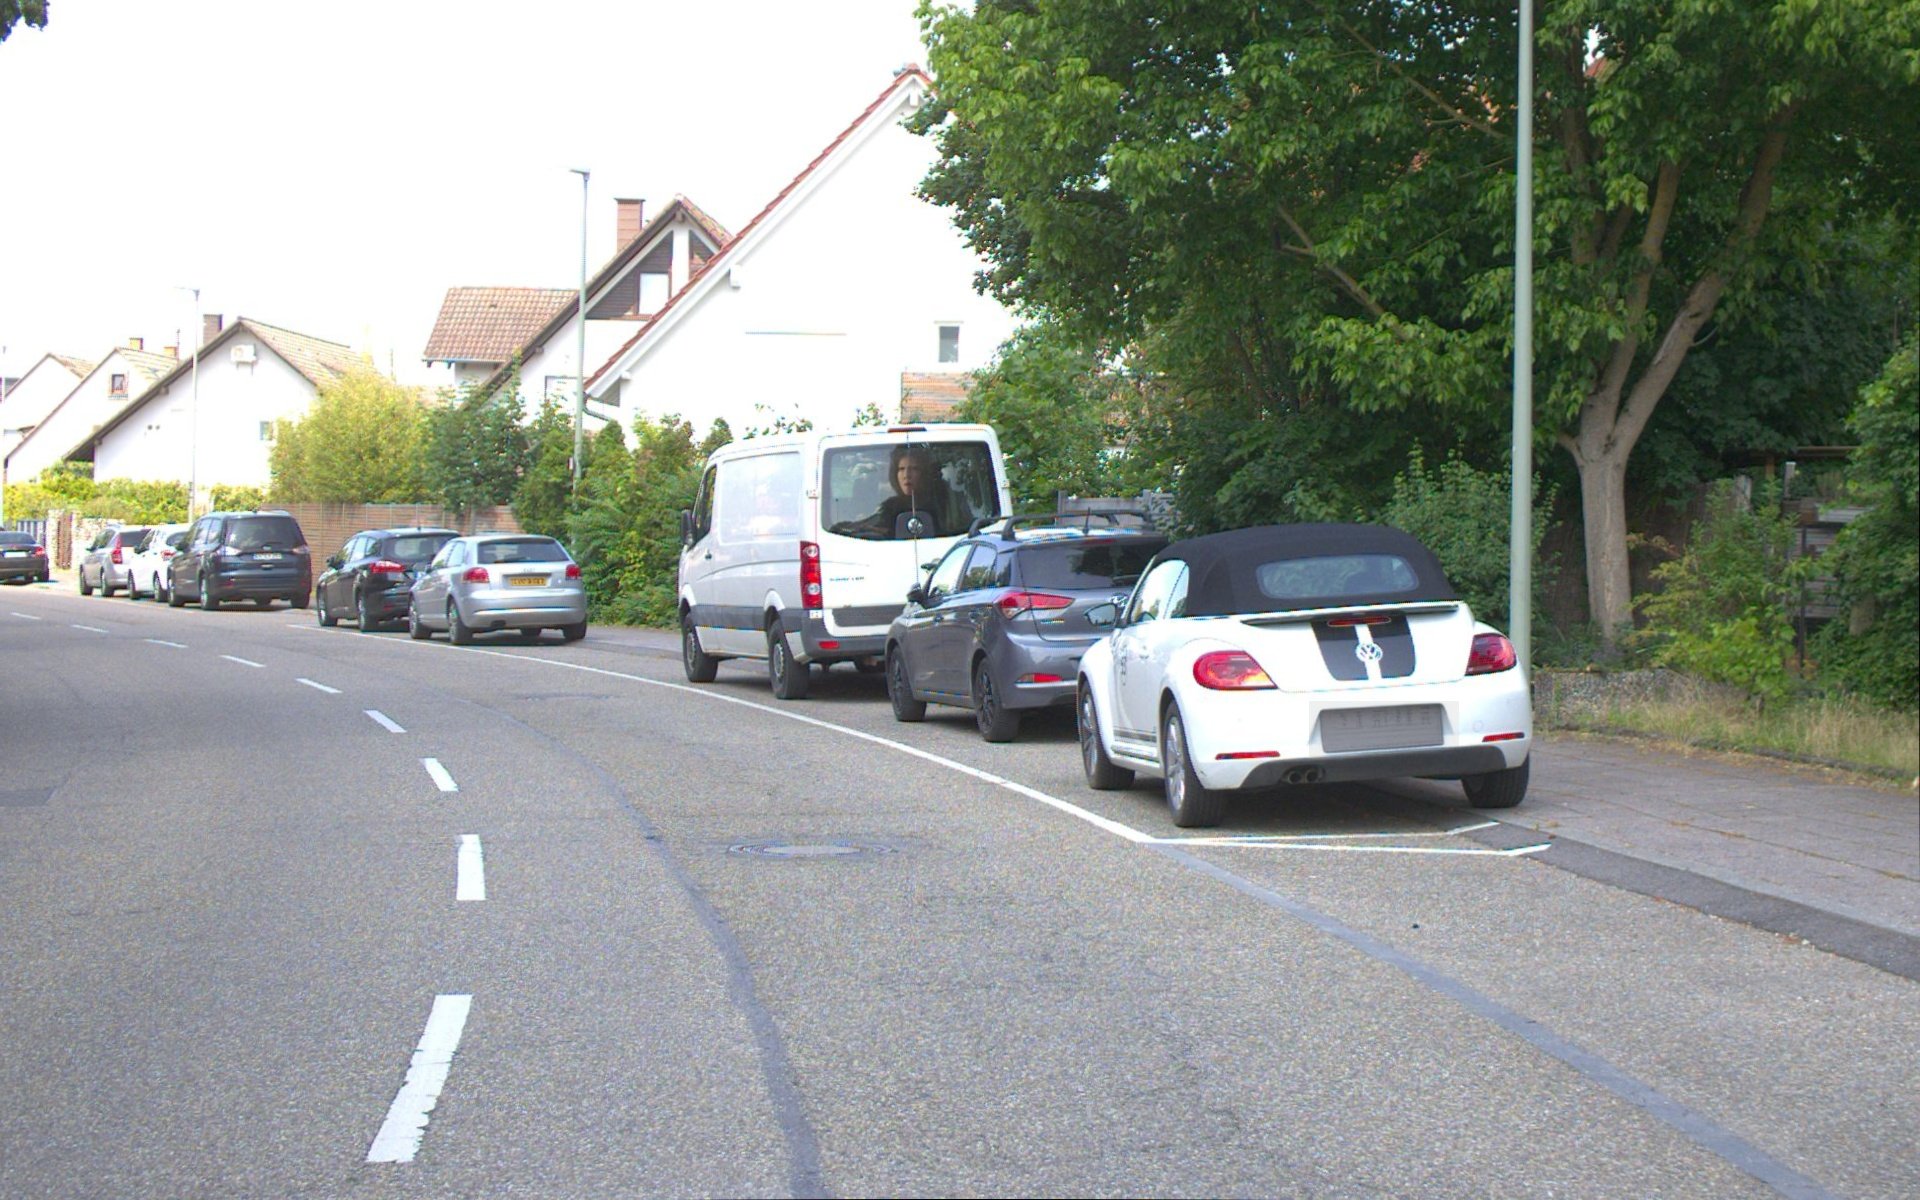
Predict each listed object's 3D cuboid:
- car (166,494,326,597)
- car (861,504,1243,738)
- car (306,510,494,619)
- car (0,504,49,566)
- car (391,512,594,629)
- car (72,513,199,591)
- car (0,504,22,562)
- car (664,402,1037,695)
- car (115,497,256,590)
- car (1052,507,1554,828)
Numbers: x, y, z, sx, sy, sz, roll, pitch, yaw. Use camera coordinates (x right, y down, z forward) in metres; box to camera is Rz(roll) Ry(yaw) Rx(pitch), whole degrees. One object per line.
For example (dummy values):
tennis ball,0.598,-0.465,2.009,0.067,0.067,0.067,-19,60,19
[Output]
car,-12.891,-1.005,61.886,1.794,1.742,4.585,1,1,-25
car,0.583,0.099,25.554,1.717,1.580,4.125,1,1,-15
car,-8.348,-0.551,50.913,1.737,1.504,4.477,1,1,-23
car,-24.479,-1.683,87.651,1.794,1.518,3.974,1,1,-24
car,-6.277,-0.421,45.786,1.737,1.452,4.366,1,1,-20
car,-17.252,-1.021,71.829,1.794,1.518,3.974,1,1,-25
car,-26.311,-1.825,91.882,1.794,1.518,3.974,1,1,-24
car,-1.155,-0.496,31.874,2.117,2.432,5.896,1,1,-15
car,-15.262,-1.126,67.615,1.794,1.742,3.974,1,1,-26
car,1.709,0.280,18.672,1.739,1.507,4.460,1,1,-7
